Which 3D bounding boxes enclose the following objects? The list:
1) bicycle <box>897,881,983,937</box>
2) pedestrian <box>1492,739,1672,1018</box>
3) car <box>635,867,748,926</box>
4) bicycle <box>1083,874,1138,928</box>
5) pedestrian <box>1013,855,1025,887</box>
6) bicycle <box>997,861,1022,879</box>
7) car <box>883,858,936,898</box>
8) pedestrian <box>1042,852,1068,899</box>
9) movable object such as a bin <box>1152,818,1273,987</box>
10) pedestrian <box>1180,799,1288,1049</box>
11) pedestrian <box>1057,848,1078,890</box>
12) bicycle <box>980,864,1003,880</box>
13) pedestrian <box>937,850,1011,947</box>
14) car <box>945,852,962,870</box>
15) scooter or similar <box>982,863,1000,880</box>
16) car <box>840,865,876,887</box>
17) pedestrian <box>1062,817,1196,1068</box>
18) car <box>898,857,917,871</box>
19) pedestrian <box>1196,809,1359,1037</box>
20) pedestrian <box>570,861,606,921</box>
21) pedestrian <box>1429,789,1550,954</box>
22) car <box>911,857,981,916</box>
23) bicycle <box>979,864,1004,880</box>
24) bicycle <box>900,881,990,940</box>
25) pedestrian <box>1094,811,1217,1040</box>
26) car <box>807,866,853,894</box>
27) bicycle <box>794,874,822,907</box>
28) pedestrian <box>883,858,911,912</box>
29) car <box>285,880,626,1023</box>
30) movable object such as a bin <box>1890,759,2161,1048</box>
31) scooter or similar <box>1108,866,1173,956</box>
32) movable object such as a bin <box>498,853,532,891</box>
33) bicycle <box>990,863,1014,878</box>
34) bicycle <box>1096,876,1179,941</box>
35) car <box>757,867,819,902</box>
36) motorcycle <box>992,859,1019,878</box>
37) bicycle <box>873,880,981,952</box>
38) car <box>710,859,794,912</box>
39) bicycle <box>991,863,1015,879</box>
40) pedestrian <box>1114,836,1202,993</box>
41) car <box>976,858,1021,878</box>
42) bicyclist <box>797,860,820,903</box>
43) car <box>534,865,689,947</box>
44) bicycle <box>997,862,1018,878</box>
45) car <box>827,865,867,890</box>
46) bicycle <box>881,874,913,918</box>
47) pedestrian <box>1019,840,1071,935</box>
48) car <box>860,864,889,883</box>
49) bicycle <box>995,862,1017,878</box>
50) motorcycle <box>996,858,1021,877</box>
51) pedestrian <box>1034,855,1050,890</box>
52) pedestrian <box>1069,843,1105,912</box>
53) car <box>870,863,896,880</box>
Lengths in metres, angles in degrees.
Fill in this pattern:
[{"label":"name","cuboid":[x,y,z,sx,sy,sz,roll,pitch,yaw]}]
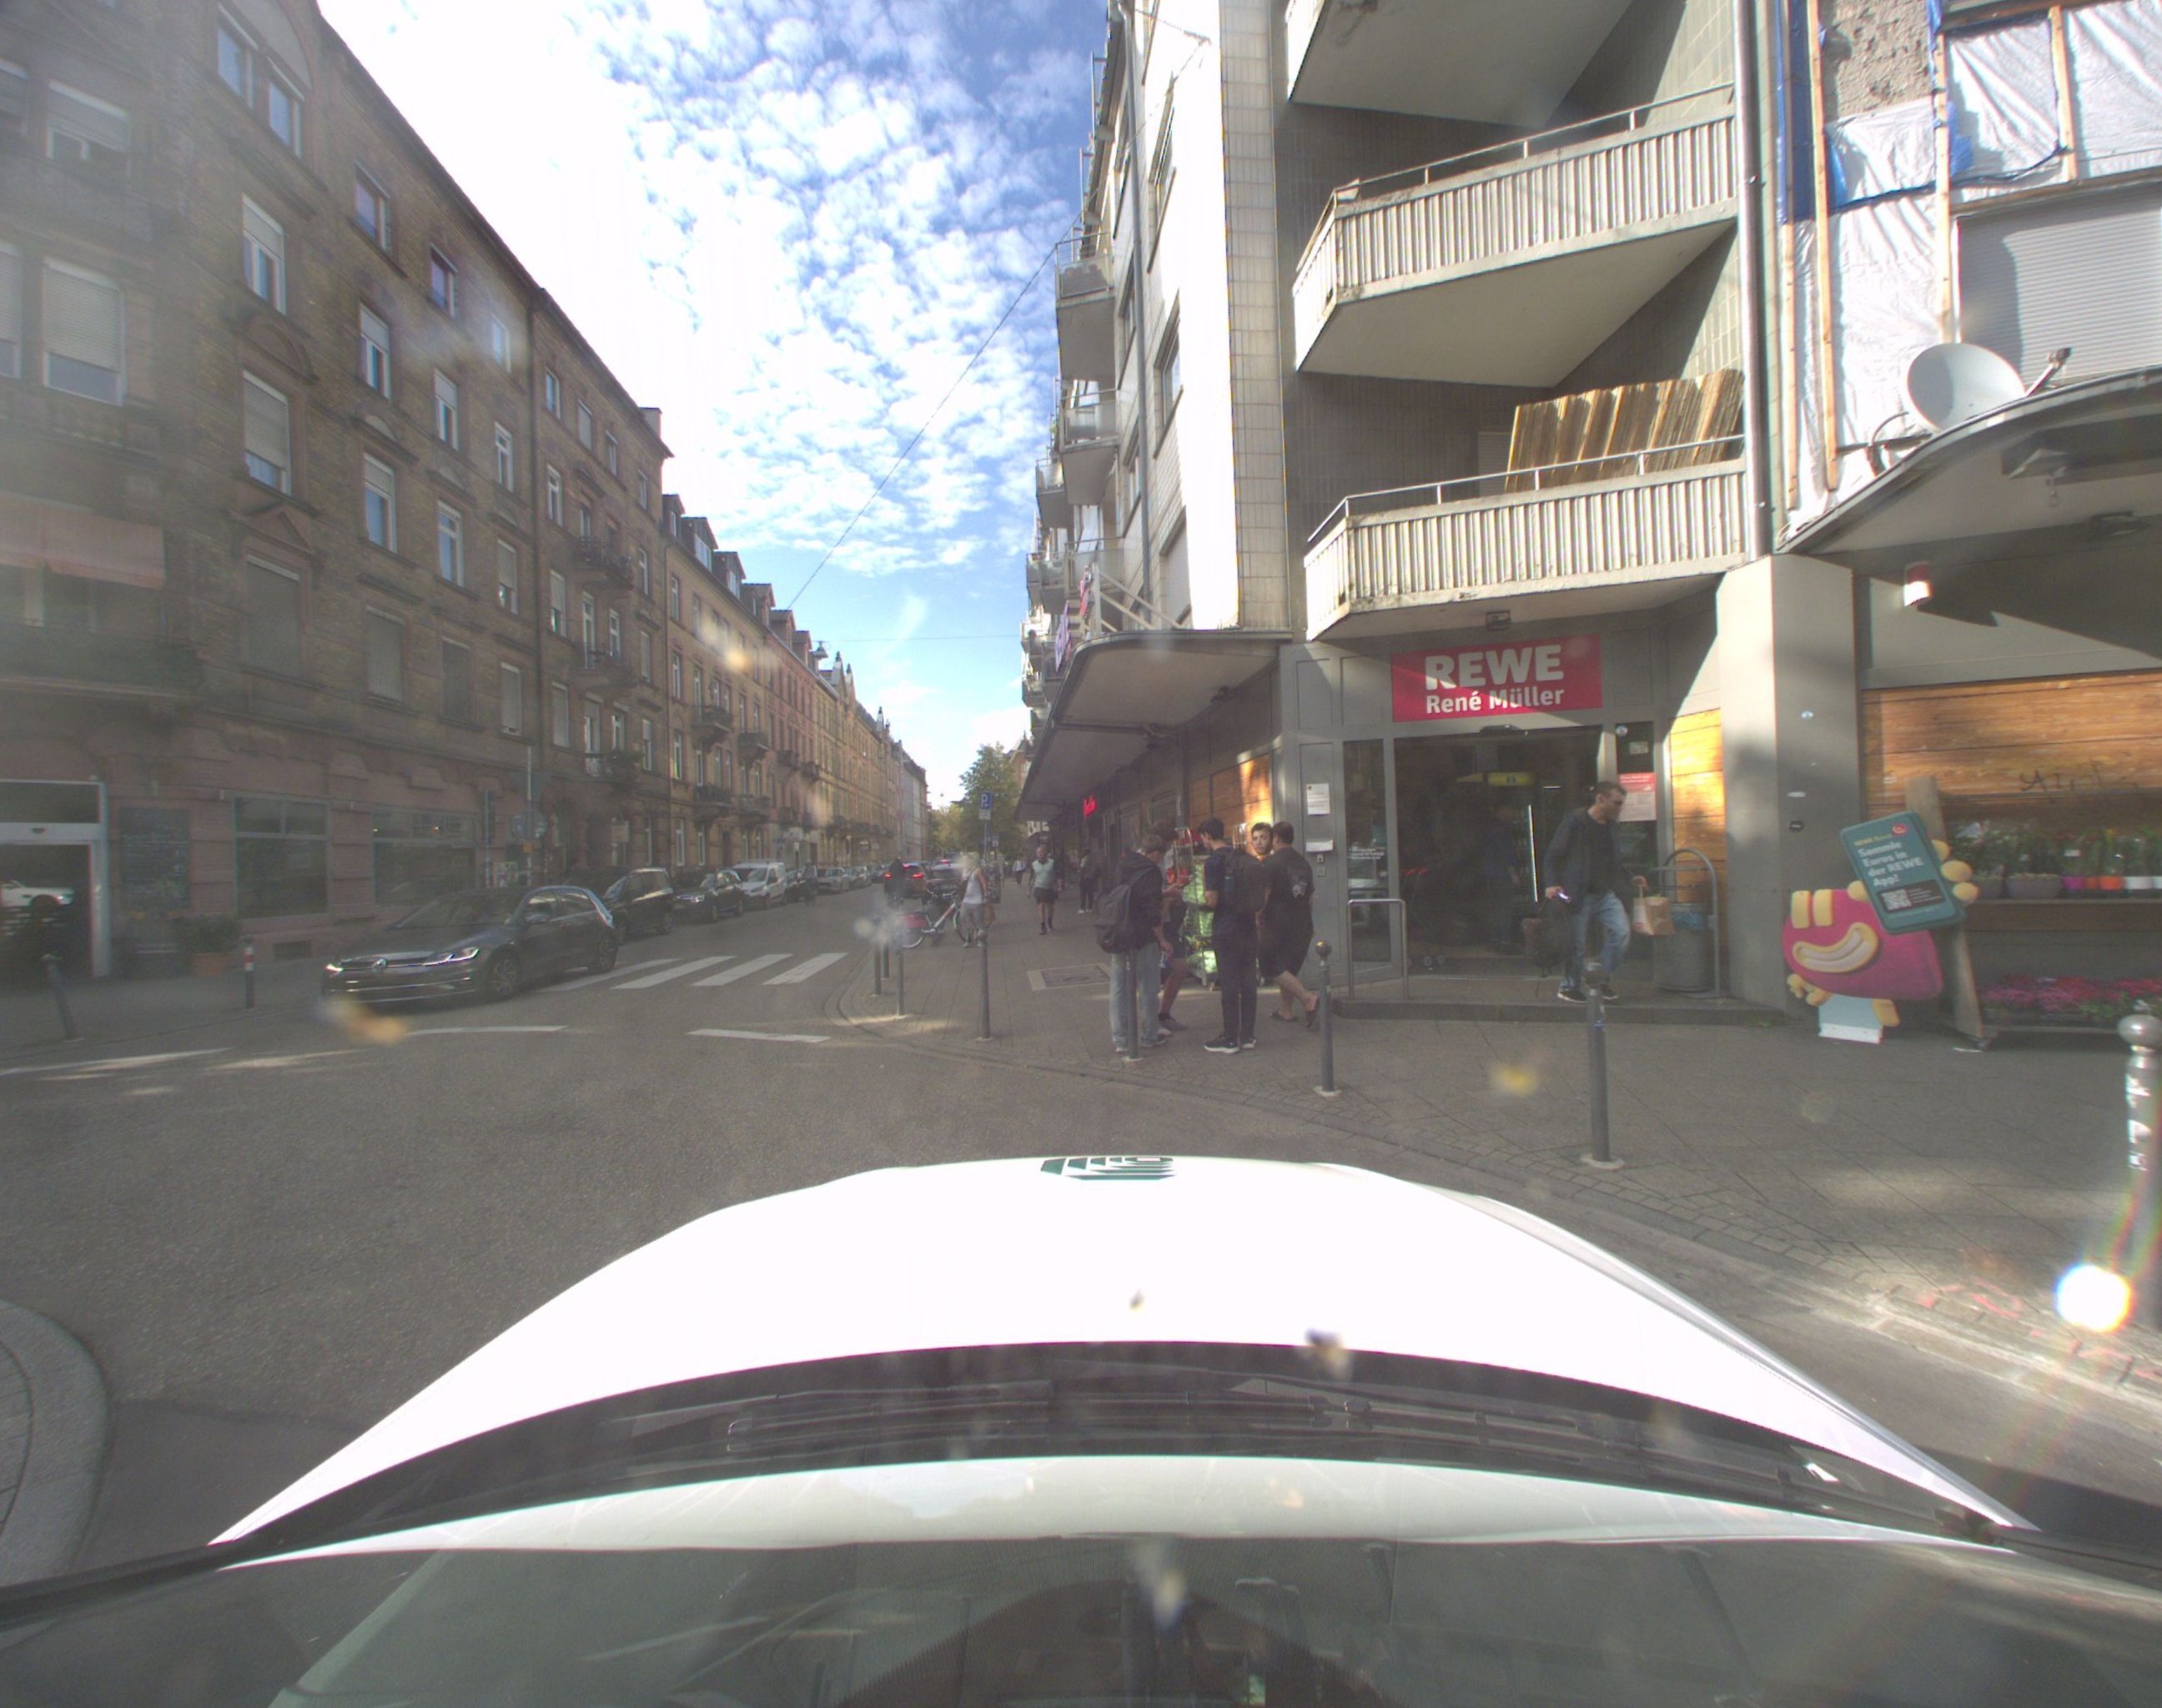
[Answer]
[{"label":"bicycle","cuboid":[-3.172,1.206,18.265,1.792,1.070,0.583,-4,1,-17]},{"label":"pedestrian","cuboid":[3.912,0.180,6.460,1.022,2.013,0.868,-3,1,22]},{"label":"car","cuboid":[-12.179,1.268,25.782,1.992,1.638,4.135,-1,0,-7]},{"label":"bicycle","cuboid":[0.604,0.964,17.333,0.742,1.015,1.777,-4,0,-10]},{"label":"pedestrian","cuboid":[-3.526,0.945,46.176,0.611,1.726,1.124,-2,0,-5]},{"label":"bicycle","cuboid":[-5.346,1.203,60.581,1.762,1.162,0.649,-4,0,-4]},{"label":"car","cuboid":[-8.025,1.086,38.413,1.962,1.741,4.033,-1,-1,-6]},{"label":"pedestrian","cuboid":[-0.923,0.738,28.334,0.822,1.588,0.779,-2,-1,-5]},{"label":"movable object such as a bin","cuboid":[1.488,0.511,9.742,0.778,1.744,2.418,-2,0,-6]},{"label":"pedestrian","cuboid":[1.164,0.511,6.305,0.650,1.797,0.660,-5,1,7]},{"label":"pedestrian","cuboid":[-0.605,0.655,36.225,0.701,1.860,0.648,-2,-1,23]},{"label":"bicycle","cuboid":[-7.265,1.433,66.366,1.790,1.159,0.499,-4,0,-4]},{"label":"pedestrian","cuboid":[-1.941,0.793,14.803,1.027,1.671,0.795,-1,-2,-36]},{"label":"car","cuboid":[-15.029,0.810,95.886,1.780,2.020,3.878,0,0,-7]},{"label":"scooter or similar","cuboid":[-6.617,1.313,60.086,1.194,1.147,0.381,-4,1,25]},{"label":"car","cuboid":[-15.142,1.484,55.439,1.688,1.386,3.859,0,-1,-6]},{"label":"pedestrian","cuboid":[0.385,0.646,6.358,0.624,1.797,0.719,-4,1,35]},{"label":"car","cuboid":[-19.819,1.104,93.281,1.688,1.550,3.858,0,-1,-6]},{"label":"pedestrian","cuboid":[1.651,0.541,7.001,0.851,1.746,1.043,-4,0,-17]},{"label":"pedestrian","cuboid":[-15.398,1.134,25.436,0.677,1.840,0.854,1,-1,-12]},{"label":"pedestrian","cuboid":[4.617,0.181,9.230,0.768,1.753,0.921,-2,0,-32]},{"label":"car","cuboid":[-4.226,0.960,25.985,1.790,1.605,3.916,-4,0,-5]},{"label":"bicycle","cuboid":[-6.651,1.363,60.836,1.766,1.056,0.410,-4,0,-12]},{"label":"bicycle","cuboid":[-2.937,1.201,17.576,1.792,1.070,0.566,-4,1,-17]},{"label":"pedestrian","cuboid":[0.635,0.573,6.822,0.706,1.797,0.636,-4,1,27]},{"label":"car","cuboid":[-14.187,1.452,46.225,1.739,1.483,3.975,0,-1,-6]},{"label":"bicycle","cuboid":[-10.877,1.438,32.522,0.700,1.220,2.110,-1,0,-10]},{"label":"pedestrian","cuboid":[-5.812,0.972,25.747,0.717,1.650,0.928,0,0,-5]},{"label":"car","cuboid":[-8.110,1.149,11.122,1.789,1.438,3.991,-3,-1,-6]},{"label":"movable object such as a bin","cuboid":[6.465,0.295,5.313,1.532,1.754,0.694,-2,2,16]},{"label":"scooter or similar","cuboid":[0.867,0.811,12.148,0.632,1.213,1.252,-4,0,-9]},{"label":"movable object such as a bin","cuboid":[-11.093,0.348,15.960,0.383,0.714,0.474,0,0,-10]},{"label":"bicycle","cuboid":[-6.479,1.361,66.865,1.779,1.159,0.503,-4,0,19]},{"label":"bicycle","cuboid":[0.967,0.938,14.406,0.679,1.043,1.719,-2,-1,-26]},{"label":"car","cuboid":[-13.315,1.366,37.185,1.739,1.483,3.975,0,-1,-6]},{"label":"motorcycle","cuboid":[-6.486,1.233,69.767,2.145,1.434,0.765,-4,0,-2]},{"label":"bicycle","cuboid":[-2.891,1.150,15.443,1.882,1.125,0.905,-4,0,-9]},{"label":"car","cuboid":[-12.760,1.157,31.879,1.918,1.871,4.426,-1,0,-7]},{"label":"bicycle","cuboid":[-5.881,1.285,61.570,1.762,1.087,0.649,-4,0,-4]},{"label":"pedestrian","cuboid":[0.844,0.642,9.078,0.722,1.632,0.710,-4,0,-8]},{"label":"car","cuboid":[-7.619,1.287,74.899,3.769,1.546,1.721,-4,-1,-17]},{"label":"bicyclist","cuboid":[-10.909,1.092,32.656,0.700,1.677,1.109,-1,0,-10]},{"label":"car","cuboid":[-11.508,1.186,20.330,1.758,1.773,4.395,0,0,-7]},{"label":"bicycle","cuboid":[-5.625,1.217,62.387,1.493,1.146,0.410,-4,0,-6]},{"label":"car","cuboid":[-14.694,1.461,51.265,1.739,1.483,3.975,0,-1,-6]},{"label":"bicycle","cuboid":[-5.796,1.294,25.685,0.717,1.274,1.880,0,0,-5]},{"label":"pedestrian","cuboid":[-0.722,0.668,16.759,0.881,1.834,1.047,-4,0,1]},{"label":"car","cuboid":[-16.125,1.492,63.757,1.688,1.386,3.859,0,-1,-6]},{"label":"bicycle","cuboid":[-6.237,1.328,67.892,1.729,1.159,0.499,-4,0,-5]},{"label":"motorcycle","cuboid":[-6.482,1.223,72.796,2.145,1.530,0.685,-4,0,-2]},{"label":"pedestrian","cuboid":[-1.827,0.872,38.272,0.643,1.588,0.779,-4,0,-4]},{"label":"pedestrian","cuboid":[0.153,0.606,21.464,0.713,1.746,0.815,-4,0,-8]},{"label":"car","cuboid":[-16.993,1.499,70.059,1.688,1.437,3.859,0,-1,-6]}]
